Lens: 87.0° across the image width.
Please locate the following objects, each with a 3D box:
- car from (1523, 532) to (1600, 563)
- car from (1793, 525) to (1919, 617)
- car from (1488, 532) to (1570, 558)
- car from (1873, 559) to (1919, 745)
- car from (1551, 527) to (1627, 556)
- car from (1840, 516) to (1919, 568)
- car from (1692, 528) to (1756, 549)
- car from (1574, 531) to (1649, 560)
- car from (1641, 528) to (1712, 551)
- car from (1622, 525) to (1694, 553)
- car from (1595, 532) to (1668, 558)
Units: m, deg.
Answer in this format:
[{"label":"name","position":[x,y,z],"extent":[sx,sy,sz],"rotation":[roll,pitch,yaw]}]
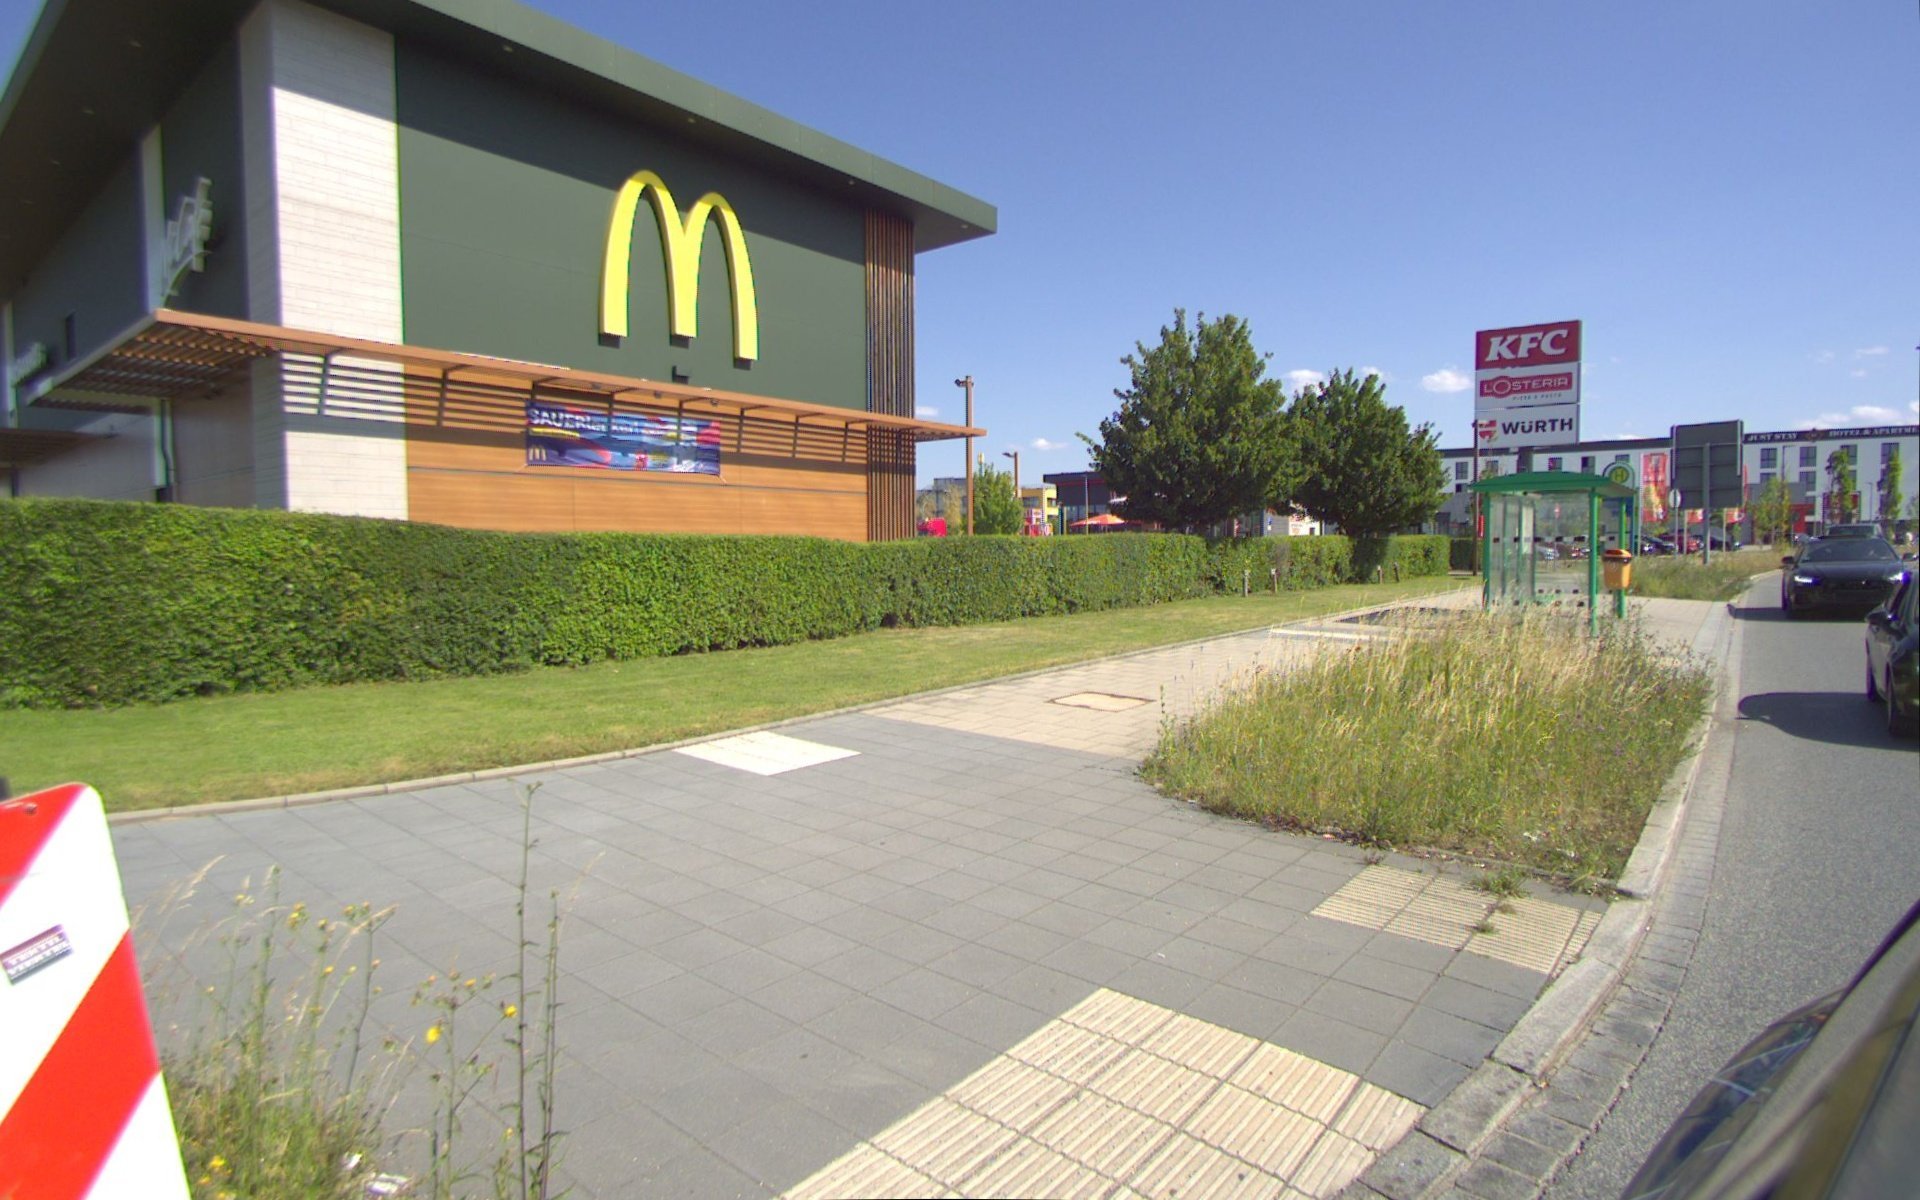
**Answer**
[{"label":"car","position":[41.956,-3.666,70.646],"extent":[1.897,2.038,4.188],"rotation":[-2,3,-35]},{"label":"car","position":[18.618,-0.643,21.029],"extent":[1.855,1.709,3.942],"rotation":[-2,2,42]},{"label":"car","position":[38.153,-3.662,67.942],"extent":[1.901,1.672,4.434],"rotation":[-3,4,-43]},{"label":"car","position":[9.592,0.353,9.142],"extent":[1.855,1.486,3.942],"rotation":[-1,1,41]},{"label":"car","position":[44.743,-4.147,72.089],"extent":[1.898,2.038,4.187],"rotation":[-2,3,-36]},{"label":"car","position":[39.556,-2.500,43.478],"extent":[4.604,2.073,2.077],"rotation":[-3,4,-42]},{"label":"car","position":[62.567,-5.017,82.920],"extent":[1.725,1.639,3.824],"rotation":[-3,3,-36]},{"label":"car","position":[47.728,-3.961,74.186],"extent":[1.897,2.038,4.187],"rotation":[-2,3,-36]},{"label":"car","position":[56.471,-4.745,79.850],"extent":[1.789,1.783,4.190],"rotation":[-2,3,-33]},{"label":"car","position":[53.999,-4.697,78.338],"extent":[1.898,2.038,4.185],"rotation":[-3,3,-37]},{"label":"car","position":[49.935,-4.110,75.360],"extent":[1.768,1.880,4.191],"rotation":[-2,3,-32]}]
